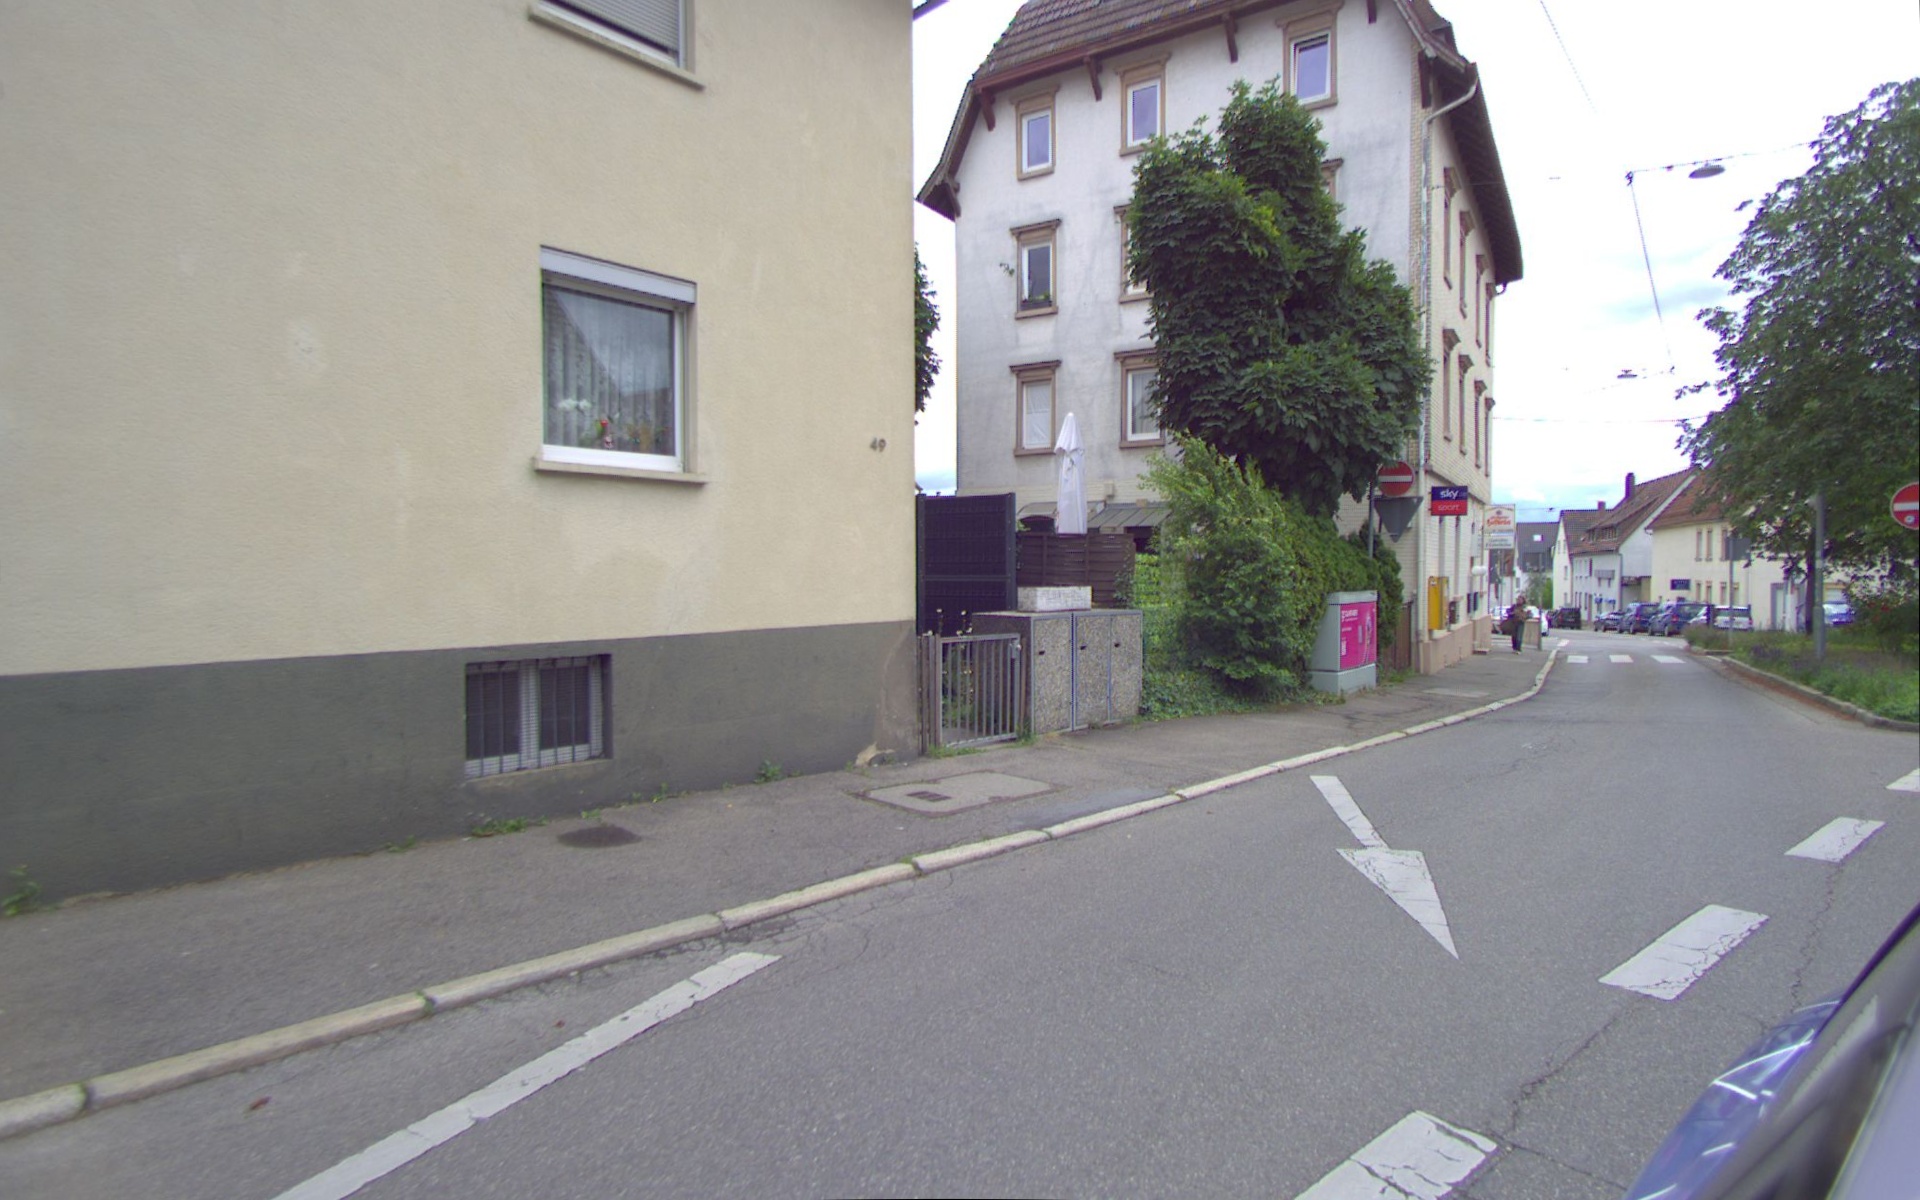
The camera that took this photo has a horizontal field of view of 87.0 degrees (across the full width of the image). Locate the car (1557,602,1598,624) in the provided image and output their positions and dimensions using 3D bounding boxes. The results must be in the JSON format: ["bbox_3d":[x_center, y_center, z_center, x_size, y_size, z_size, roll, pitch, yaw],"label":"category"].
[{"bbox_3d":[50.642,1.053,83.078,2.257,1.753,3.967,0,-1,23],"label":"car"}]

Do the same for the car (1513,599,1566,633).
[{"bbox_3d":[28.654,0.803,50.131,1.755,1.498,3.800,3,0,23],"label":"car"}]

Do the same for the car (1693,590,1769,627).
[{"bbox_3d":[35.463,0.409,46.656,1.754,1.639,3.969,0,-1,22],"label":"car"}]

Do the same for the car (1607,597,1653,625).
[{"bbox_3d":[42.570,0.704,64.397,1.703,1.753,3.967,0,-1,23],"label":"car"}]

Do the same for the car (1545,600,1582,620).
[{"bbox_3d":[52.793,0.902,88.626,2.257,1.753,3.967,0,-1,23],"label":"car"}]

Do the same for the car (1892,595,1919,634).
[{"bbox_3d":[44.214,0.674,45.708,1.848,1.750,3.968,0,-1,23],"label":"car"}]

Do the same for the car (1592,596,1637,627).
[{"bbox_3d":[44.215,0.789,68.430,1.979,2.039,3.965,0,-1,25],"label":"car"}]

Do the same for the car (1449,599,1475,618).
[{"bbox_3d":[44.547,0.744,89.860,1.856,1.616,3.868,0,-1,23],"label":"car"}]

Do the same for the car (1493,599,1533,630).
[{"bbox_3d":[30.095,0.763,55.143,1.610,1.493,3.737,1,1,24],"label":"car"}]

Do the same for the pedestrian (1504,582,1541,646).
[{"bbox_3d":[15.848,0.393,28.506,0.854,1.755,1.010,0,-2,31],"label":"pedestrian"}]

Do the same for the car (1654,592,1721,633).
[{"bbox_3d":[37.803,0.659,52.674,1.755,1.967,4.291,3,0,22],"label":"car"}]

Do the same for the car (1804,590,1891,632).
[{"bbox_3d":[40.665,0.507,46.483,1.885,1.826,4.845,0,-1,28],"label":"car"}]

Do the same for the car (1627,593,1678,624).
[{"bbox_3d":[40.617,0.535,59.469,1.703,1.753,3.967,0,-1,23],"label":"car"}]
